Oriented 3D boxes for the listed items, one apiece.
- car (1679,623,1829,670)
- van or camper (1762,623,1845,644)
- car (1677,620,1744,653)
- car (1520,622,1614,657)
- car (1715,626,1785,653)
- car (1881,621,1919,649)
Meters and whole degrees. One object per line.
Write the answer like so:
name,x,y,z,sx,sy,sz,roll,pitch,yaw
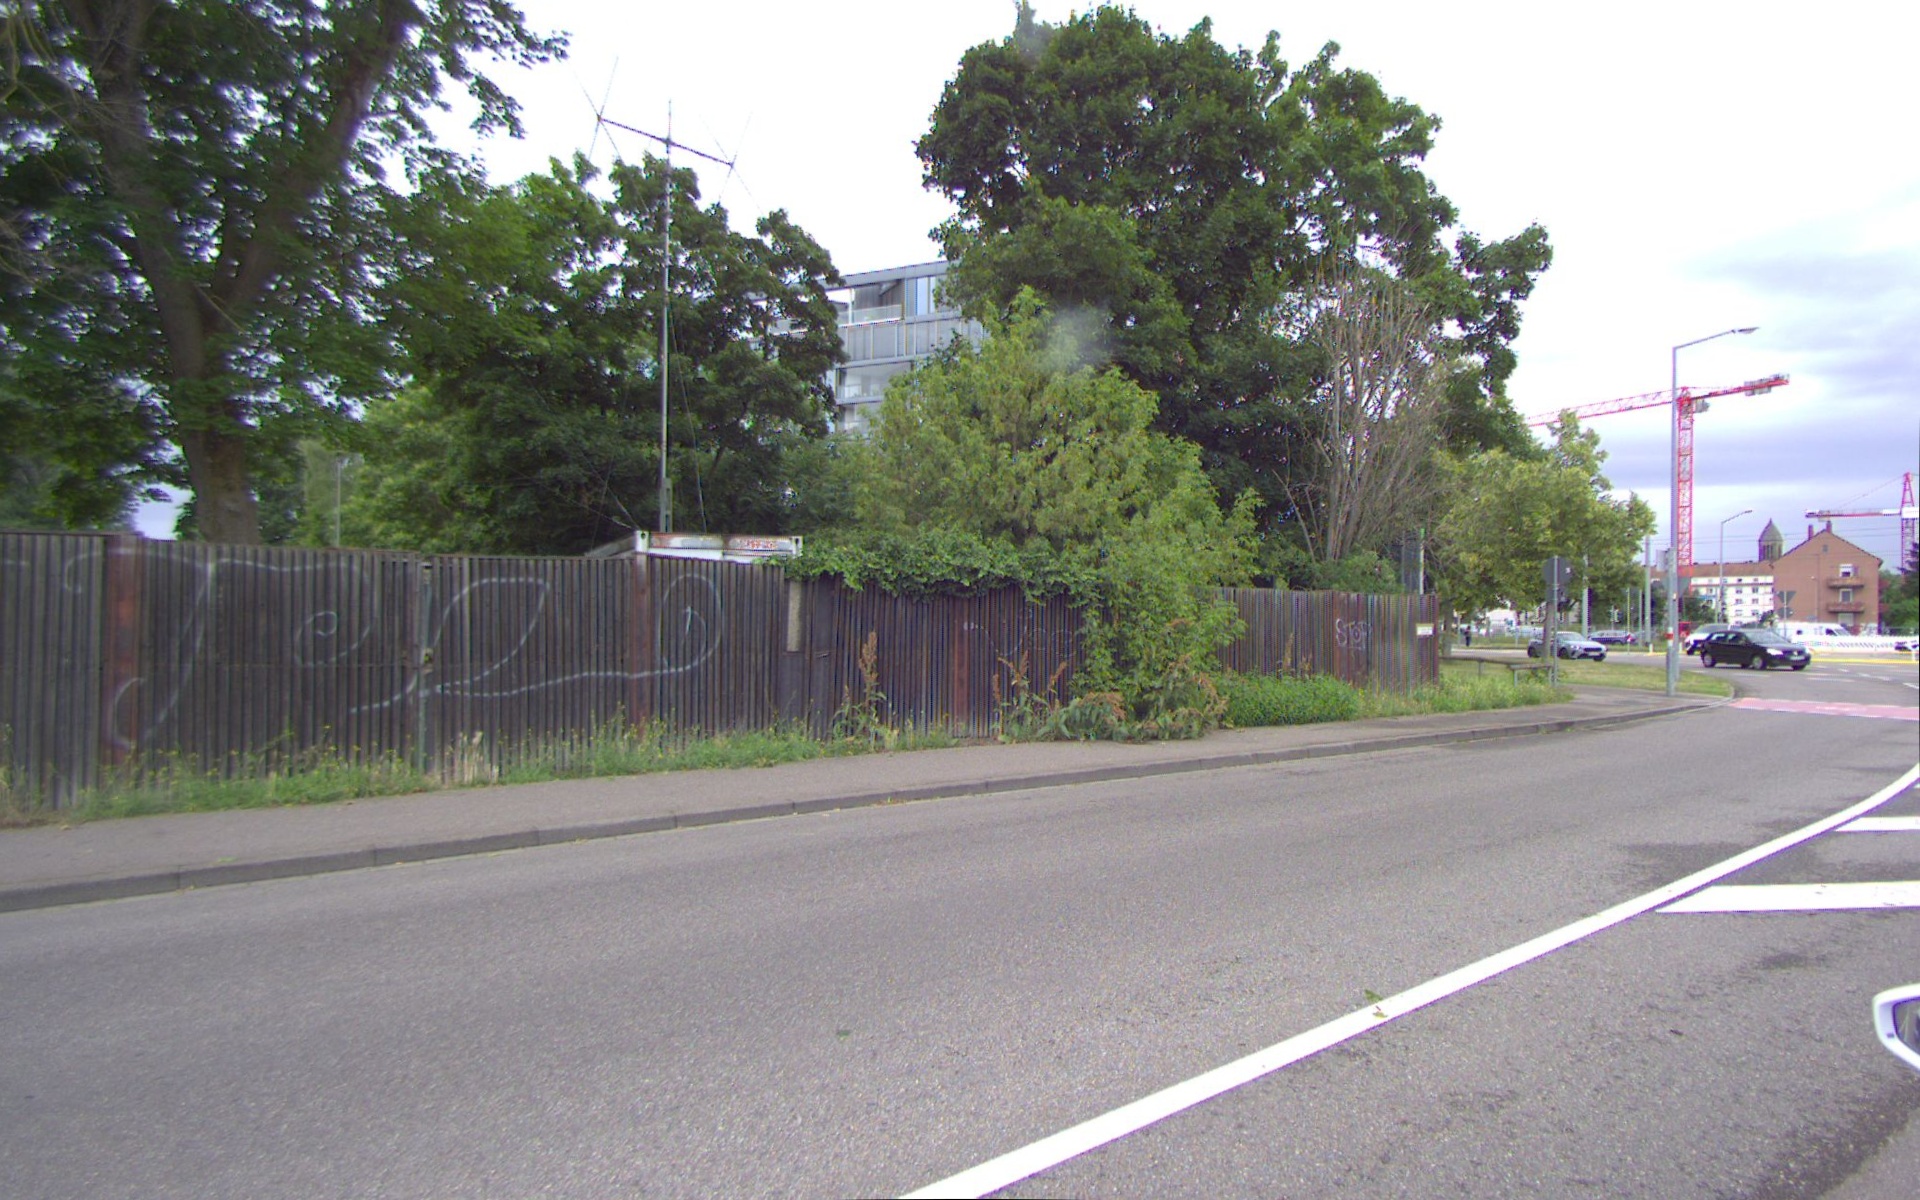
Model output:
car,29.802,1.704,37.906,2.058,1.624,4.440,0,-1,-2
van or camper,82.756,3.270,98.709,1.969,2.040,6.171,1,-1,-19
car,40.921,1.979,54.746,4.152,1.706,1.916,1,-1,-38
car,29.581,1.887,49.141,2.057,1.624,4.442,0,-1,2
car,45.915,2.269,58.376,3.953,1.509,1.922,1,-1,-30
car,59.011,2.112,60.752,4.580,1.656,2.001,0,-1,7
